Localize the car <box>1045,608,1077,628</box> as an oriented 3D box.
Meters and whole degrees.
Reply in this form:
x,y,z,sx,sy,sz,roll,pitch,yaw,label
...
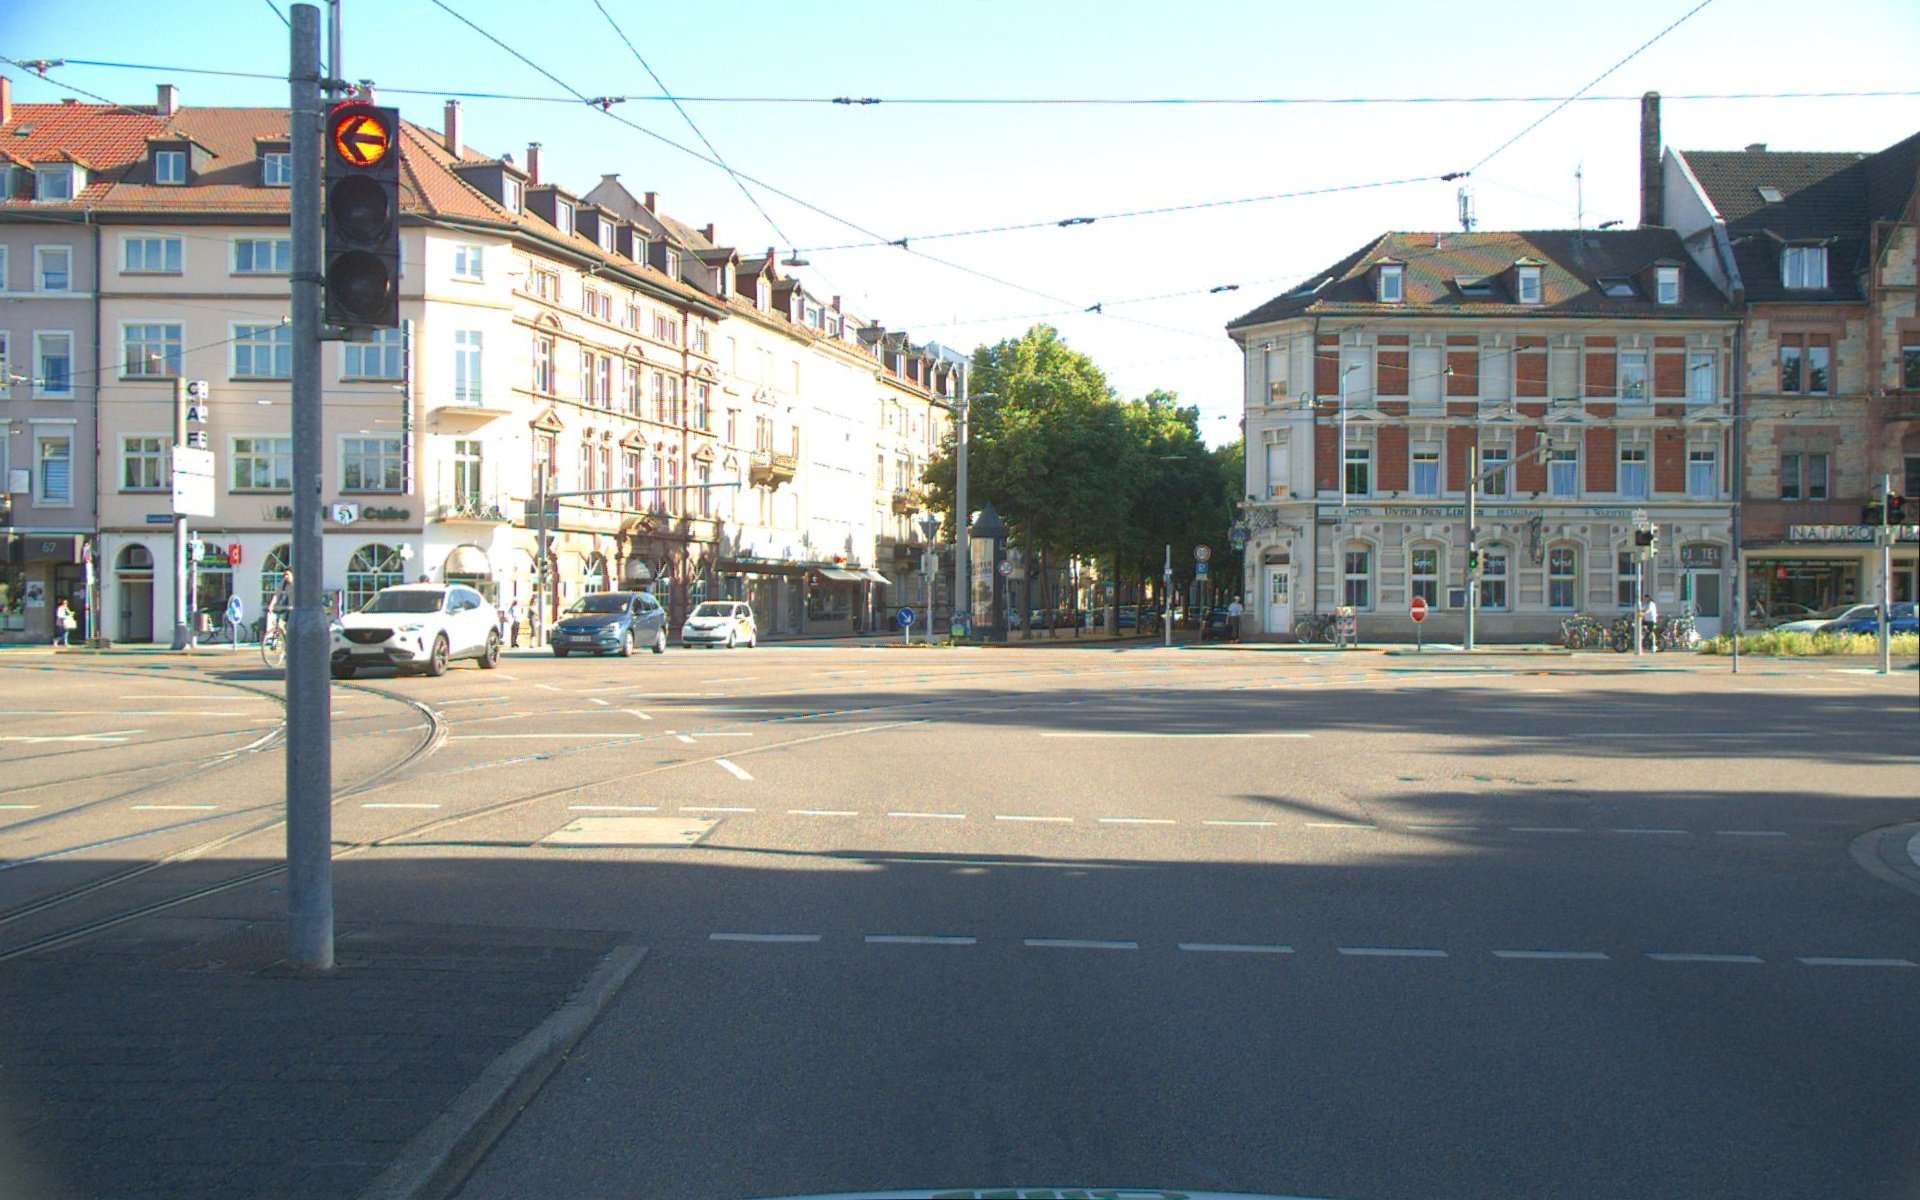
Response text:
x,y,z,sx,sy,sz,roll,pitch,yaw,label
8.067,1.400,131.865,1.951,1.523,4.037,0,0,13,car

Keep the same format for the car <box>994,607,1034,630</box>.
x,y,z,sx,sy,sz,roll,pitch,yaw,label
3.704,1.233,112.889,1.951,1.523,4.037,0,0,13,car

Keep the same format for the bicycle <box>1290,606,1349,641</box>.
x,y,z,sx,sy,sz,roll,pitch,yaw,label
12.455,0.805,57.332,1.919,1.211,0.546,0,0,4,bicycle

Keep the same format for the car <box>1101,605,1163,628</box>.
x,y,z,sx,sy,sz,roll,pitch,yaw,label
12.033,1.147,115.807,3.910,1.572,1.998,0,0,28,car

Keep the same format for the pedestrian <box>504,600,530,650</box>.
x,y,z,sx,sy,sz,roll,pitch,yaw,label
-14.884,0.830,55.582,0.661,1.670,0.579,0,0,13,pedestrian

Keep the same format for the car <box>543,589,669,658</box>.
x,y,z,sx,sy,sz,roll,pitch,yaw,label
-8.231,0.513,38.845,1.736,1.523,4.575,0,0,3,car

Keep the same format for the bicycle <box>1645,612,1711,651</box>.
x,y,z,sx,sy,sz,roll,pitch,yaw,label
23.040,1.007,53.097,1.926,1.211,0.677,0,0,-13,bicycle

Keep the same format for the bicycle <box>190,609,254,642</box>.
x,y,z,sx,sy,sz,roll,pitch,yaw,label
-25.066,0.856,56.181,1.906,1.086,0.582,0,0,-8,bicycle

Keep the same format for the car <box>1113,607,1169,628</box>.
x,y,z,sx,sy,sz,roll,pitch,yaw,label
14.070,1.327,128.477,3.910,1.572,1.998,0,0,28,car

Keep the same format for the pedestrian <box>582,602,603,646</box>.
x,y,z,sx,sy,sz,roll,pitch,yaw,label
-14.255,0.921,64.155,0.613,1.670,0.538,0,0,12,pedestrian

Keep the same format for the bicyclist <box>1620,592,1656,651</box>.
x,y,z,sx,sy,sz,roll,pitch,yaw,label
20.996,0.665,51.216,0.854,1.795,0.602,0,0,2,bicyclist

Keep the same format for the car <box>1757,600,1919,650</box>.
x,y,z,sx,sy,sz,roll,pitch,yaw,label
25.963,0.710,48.923,3.906,1.437,1.845,0,0,-2,car

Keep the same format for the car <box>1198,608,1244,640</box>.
x,y,z,sx,sy,sz,roll,pitch,yaw,label
13.072,1.167,82.574,1.951,1.523,4.037,0,0,13,car

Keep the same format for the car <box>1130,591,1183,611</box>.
x,y,z,sx,sy,sz,roll,pitch,yaw,label
15.967,0.068,134.372,3.910,1.572,1.998,0,0,28,car

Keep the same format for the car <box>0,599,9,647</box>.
x,y,z,sx,sy,sz,roll,pitch,yaw,label
-29.618,0.675,46.879,4.124,1.379,1.999,0,0,-4,car

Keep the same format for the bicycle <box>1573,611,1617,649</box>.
x,y,z,sx,sy,sz,roll,pitch,yaw,label
20.518,0.960,53.464,0.663,1.211,1.967,0,0,0,bicycle

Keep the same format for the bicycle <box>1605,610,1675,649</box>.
x,y,z,sx,sy,sz,roll,pitch,yaw,label
21.058,0.908,51.216,1.920,1.211,0.602,0,0,2,bicycle

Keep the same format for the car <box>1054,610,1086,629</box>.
x,y,z,sx,sy,sz,roll,pitch,yaw,label
9.115,1.615,136.624,1.951,1.523,4.037,0,0,13,car

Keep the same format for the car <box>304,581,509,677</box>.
x,y,z,sx,sy,sz,roll,pitch,yaw,label
-9.386,0.456,28.438,1.952,1.523,4.348,0,0,2,car

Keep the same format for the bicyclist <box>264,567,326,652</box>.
x,y,z,sx,sy,sz,roll,pitch,yaw,label
-12.728,0.179,31.670,0.699,1.587,0.987,0,0,8,bicyclist

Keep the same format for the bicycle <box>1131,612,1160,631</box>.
x,y,z,sx,sy,sz,roll,pitch,yaw,label
11.163,1.271,99.379,0.577,1.086,1.924,0,0,-37,bicycle

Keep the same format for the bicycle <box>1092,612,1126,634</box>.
x,y,z,sx,sy,sz,roll,pitch,yaw,label
7.465,1.163,82.832,0.577,1.086,1.924,0,0,-37,bicycle

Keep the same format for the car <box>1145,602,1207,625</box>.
x,y,z,sx,sy,sz,roll,pitch,yaw,label
15.239,0.956,116.731,3.913,1.572,1.996,0,0,30,car

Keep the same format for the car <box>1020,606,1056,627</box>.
x,y,z,sx,sy,sz,roll,pitch,yaw,label
5.796,1.218,122.643,1.951,1.523,4.037,0,0,13,car

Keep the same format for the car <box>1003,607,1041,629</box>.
x,y,z,sx,sy,sz,roll,pitch,yaw,label
4.450,1.265,117.387,1.951,1.523,4.037,0,0,13,car

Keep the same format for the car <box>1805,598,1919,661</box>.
x,y,z,sx,sy,sz,roll,pitch,yaw,label
25.911,0.800,45.927,3.906,1.697,1.954,0,0,-2,car

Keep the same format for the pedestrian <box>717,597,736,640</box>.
x,y,z,sx,sy,sz,roll,pitch,yaw,label
-10.594,0.843,74.985,0.667,1.942,0.633,0,0,15,pedestrian

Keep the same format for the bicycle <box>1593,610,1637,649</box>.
x,y,z,sx,sy,sz,roll,pitch,yaw,label
21.156,0.942,53.474,0.663,1.211,1.967,0,0,0,bicycle

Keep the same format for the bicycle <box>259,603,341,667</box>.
x,y,z,sx,sy,sz,roll,pitch,yaw,label
-12.650,0.652,31.744,0.474,1.186,2.058,0,0,9,bicycle

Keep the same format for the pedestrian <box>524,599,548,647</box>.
x,y,z,sx,sy,sz,roll,pitch,yaw,label
-14.602,0.790,56.962,0.617,1.670,0.553,0,0,13,pedestrian

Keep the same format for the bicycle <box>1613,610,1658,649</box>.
x,y,z,sx,sy,sz,roll,pitch,yaw,label
21.818,0.950,53.477,0.663,1.211,1.967,0,0,0,bicycle

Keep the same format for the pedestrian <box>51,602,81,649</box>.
x,y,z,sx,sy,sz,roll,pitch,yaw,label
-29.851,0.859,55.237,0.645,1.551,0.694,0,0,-7,pedestrian

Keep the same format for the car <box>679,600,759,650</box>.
x,y,z,sx,sy,sz,roll,pitch,yaw,label
-7.610,0.753,52.530,1.681,1.523,3.586,0,0,6,car

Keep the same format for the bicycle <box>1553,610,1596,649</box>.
x,y,z,sx,sy,sz,roll,pitch,yaw,label
19.829,0.932,53.428,0.663,1.211,1.967,0,0,0,bicycle

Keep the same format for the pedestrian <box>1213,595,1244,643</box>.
x,y,z,sx,sy,sz,roll,pitch,yaw,label
9.715,0.679,59.836,0.707,1.698,0.930,0,0,-29,pedestrian
